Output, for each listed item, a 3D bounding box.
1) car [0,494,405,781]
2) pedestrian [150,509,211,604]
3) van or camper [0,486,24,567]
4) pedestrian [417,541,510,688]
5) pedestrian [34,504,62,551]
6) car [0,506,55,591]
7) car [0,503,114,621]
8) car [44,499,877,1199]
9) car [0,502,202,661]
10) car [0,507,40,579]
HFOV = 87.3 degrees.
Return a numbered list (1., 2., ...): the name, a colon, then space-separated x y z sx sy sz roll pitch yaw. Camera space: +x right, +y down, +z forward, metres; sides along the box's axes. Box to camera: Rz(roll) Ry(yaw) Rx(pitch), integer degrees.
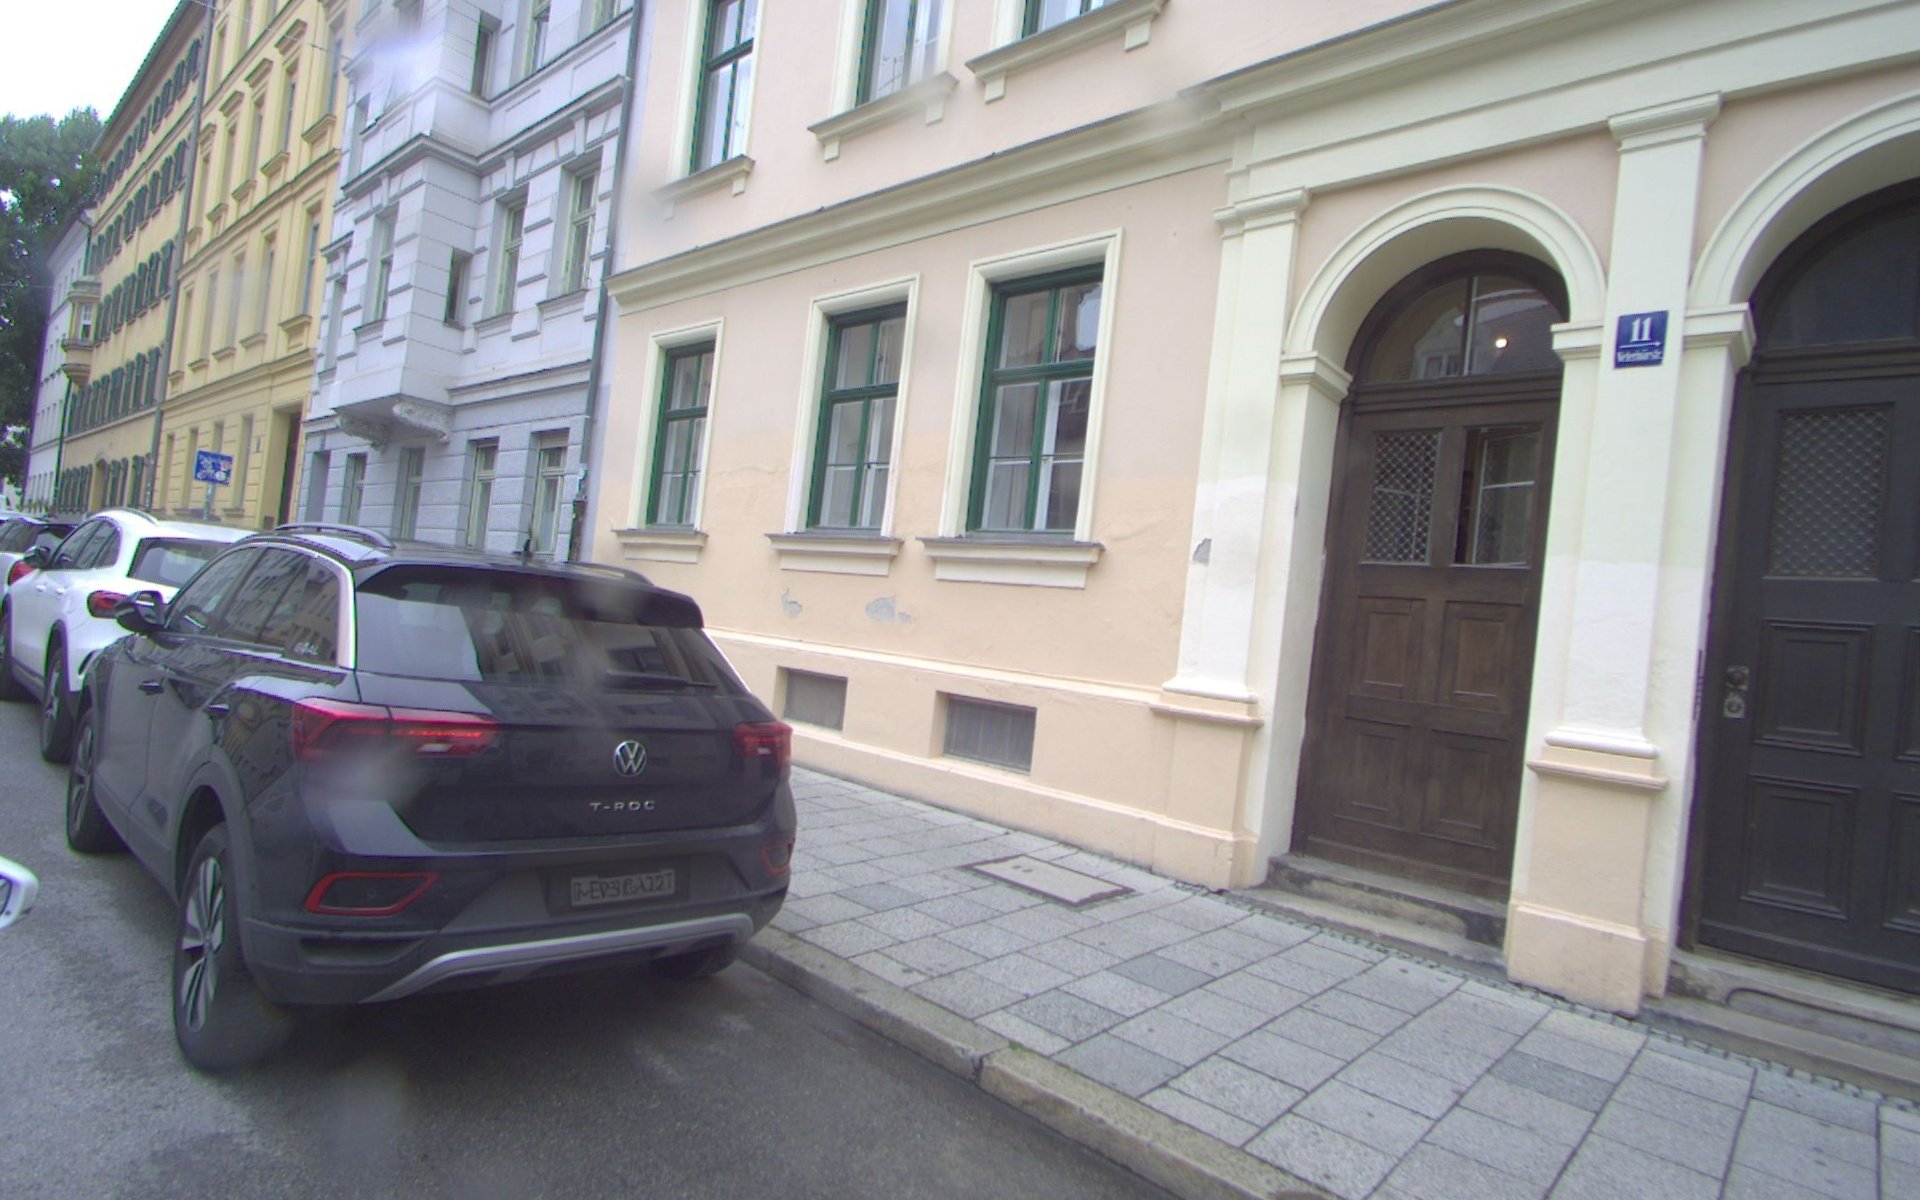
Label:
1. car: -6.101 0.147 7.760 4.263 1.620 1.715 6 -1 41
2. pedestrian: -16.473 -0.911 21.258 0.793 1.884 0.701 7 -1 40
3. van or camper: -26.818 -2.145 26.905 5.160 2.038 1.991 6 -1 42
4. pedestrian: -5.707 0.167 11.574 0.615 1.595 0.644 6 2 34
5. pedestrian: -33.602 -2.681 37.048 0.883 1.661 0.595 7 3 40
6. car: -19.518 -1.144 20.109 3.710 1.528 1.621 6 -1 42
7. car: -14.731 -0.698 15.682 4.408 1.528 1.714 6 -1 43
8. car: -2.431 0.513 4.260 4.087 1.585 1.714 6 -1 43
9. car: -10.710 -0.299 11.951 3.879 1.528 1.716 6 -1 39
10. car: -23.029 -1.480 23.361 4.522 1.528 1.814 6 -1 40
